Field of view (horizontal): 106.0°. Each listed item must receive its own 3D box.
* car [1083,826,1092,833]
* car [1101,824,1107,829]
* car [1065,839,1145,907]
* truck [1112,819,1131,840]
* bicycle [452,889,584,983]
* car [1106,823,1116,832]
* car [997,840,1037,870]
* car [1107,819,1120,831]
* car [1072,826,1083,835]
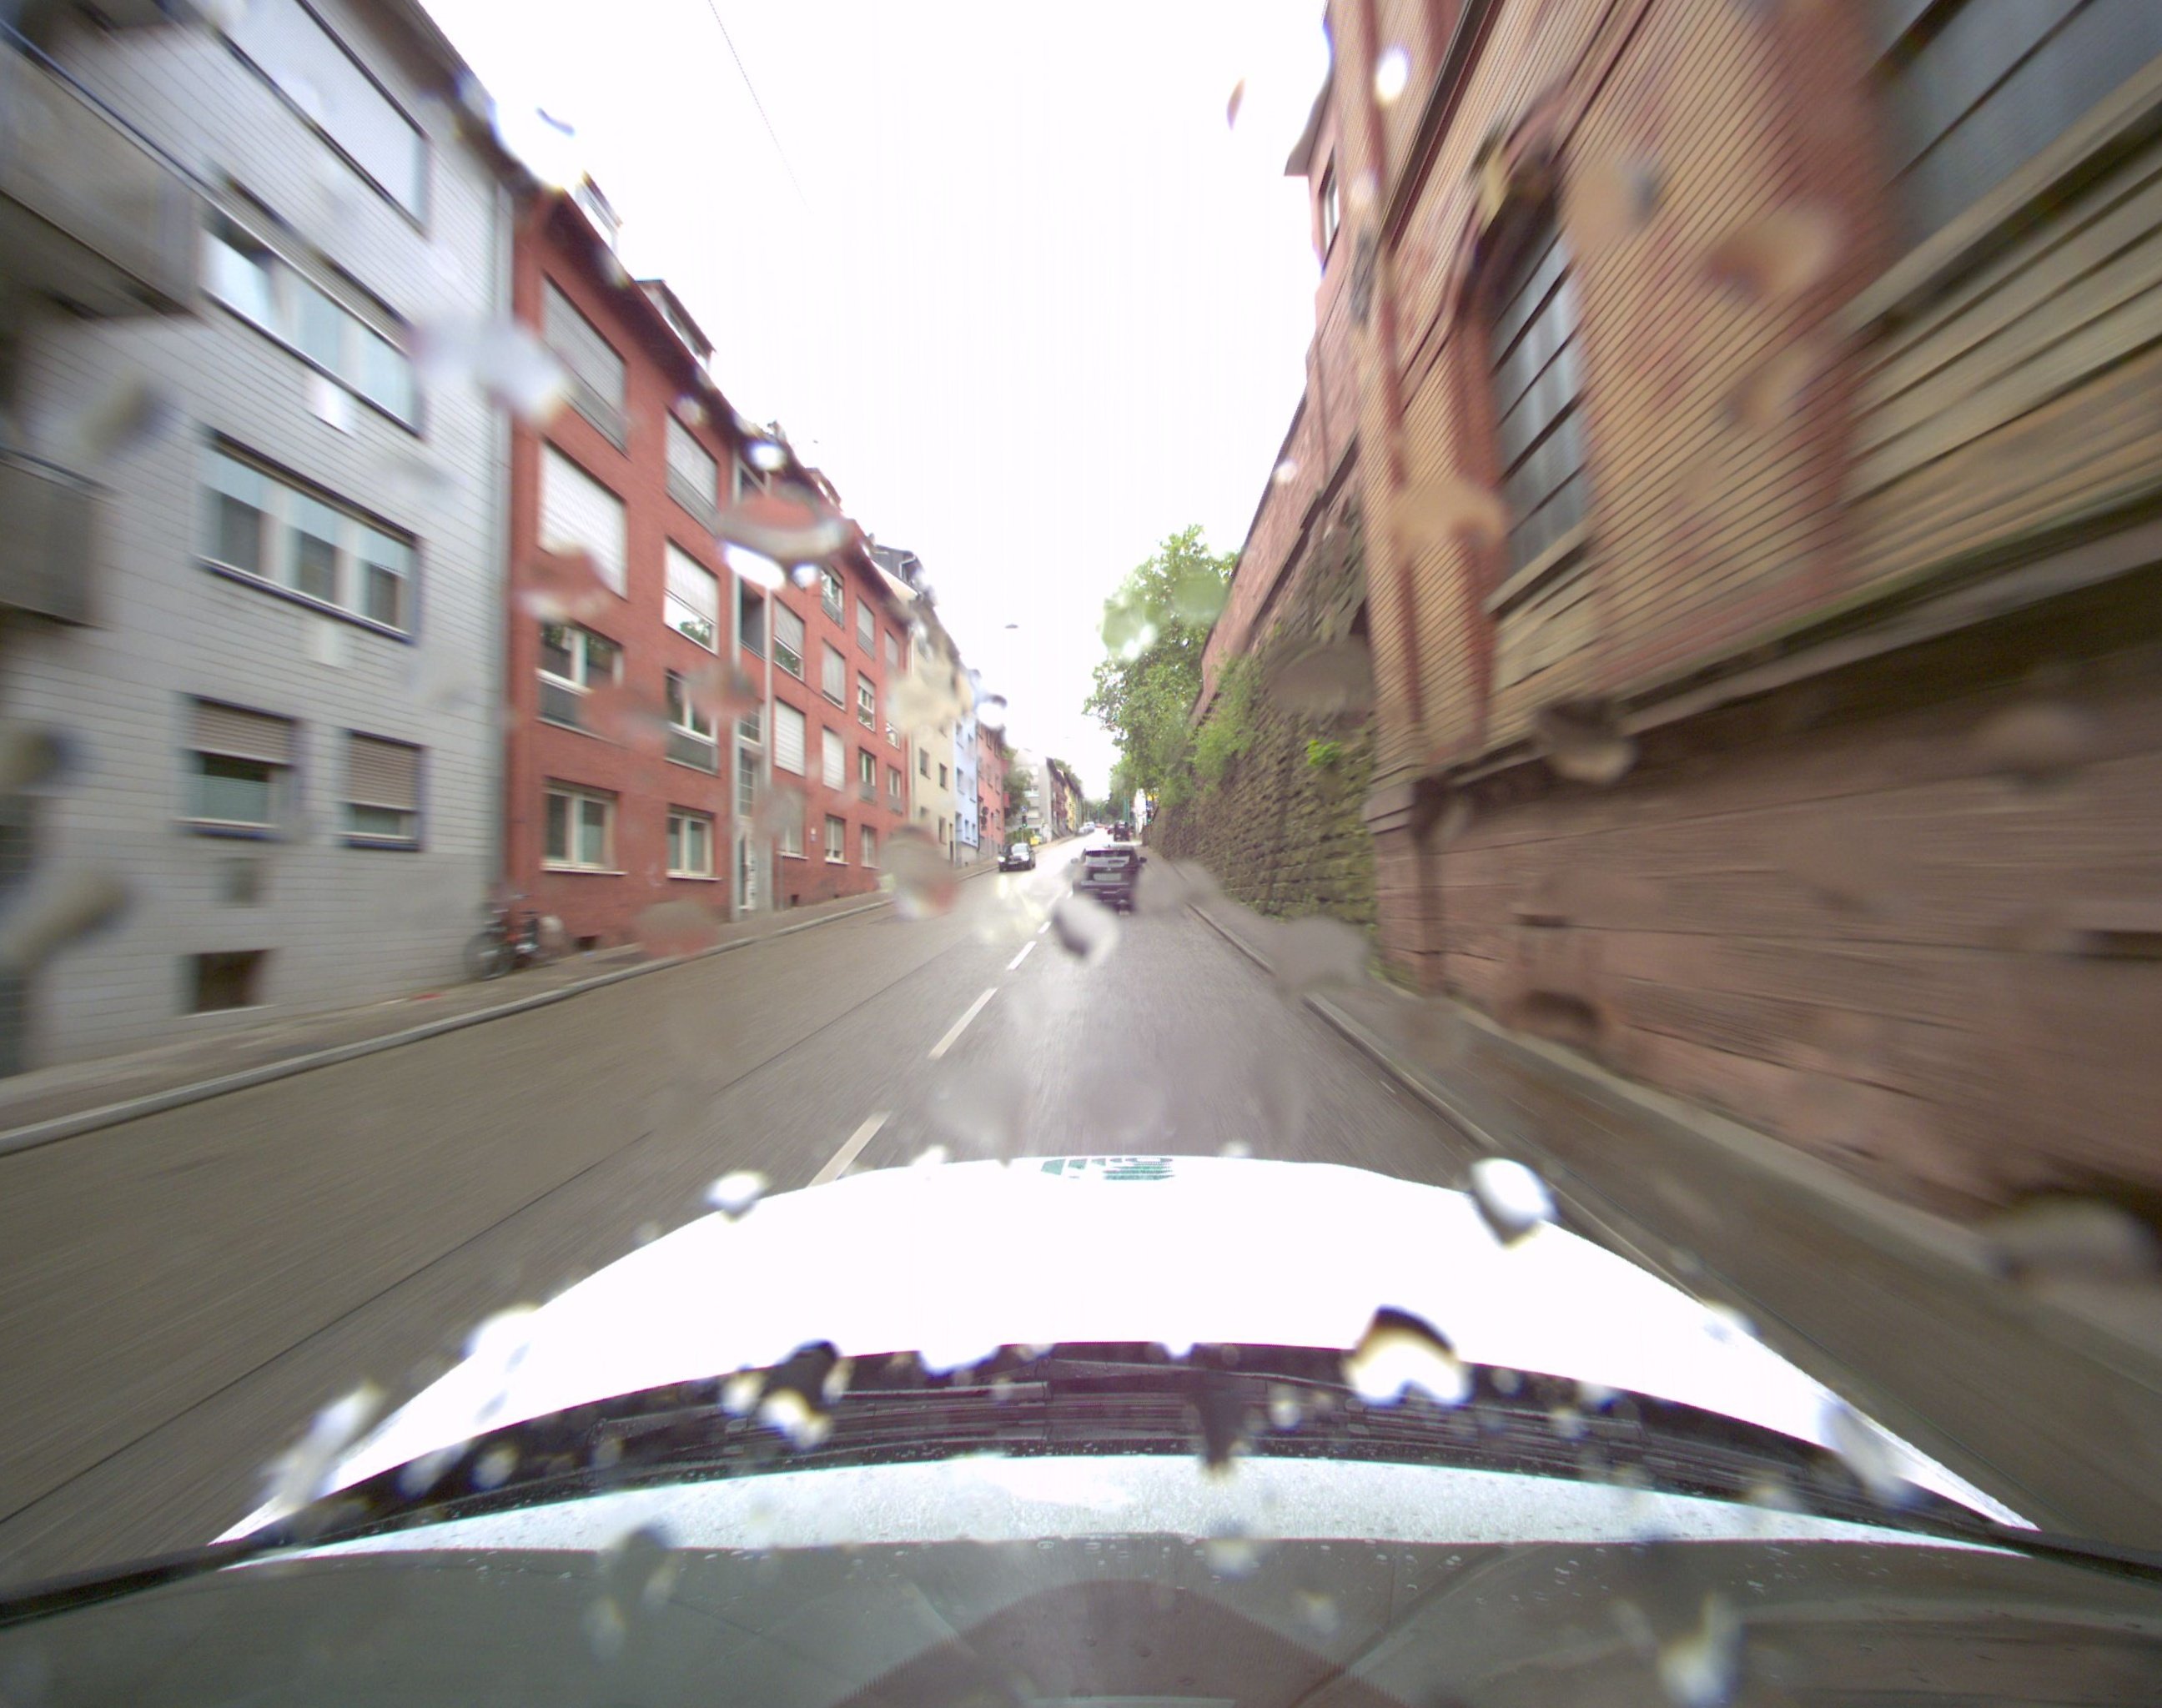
[{"bbox_3d":[1.579,-5.708,191.343,1.787,1.510,4.003,-2,1,2],"label":"car"},{"bbox_3d":[7.026,-8.348,246.016,1.787,1.510,4.003,-2,1,2],"label":"car"},{"bbox_3d":[0.591,0.459,21.478,1.875,1.594,3.920,-1,0,0],"label":"car"},{"bbox_3d":[5.095,-3.082,102.076,2.280,2.440,4.455,-2,1,2],"label":"truck"},{"bbox_3d":[-7.989,1.125,11.658,0.496,1.107,1.802,-2,1,3],"label":"bicycle"},{"bbox_3d":[5.761,-5.025,155.989,1.787,1.510,4.003,-2,1,2],"label":"car"},{"bbox_3d":[-3.466,0.021,44.674,1.707,1.447,3.923,-3,2,2],"label":"car"},{"bbox_3d":[4.721,-4.196,117.012,1.787,1.510,4.503,-2,1,2],"label":"car"},{"bbox_3d":[-0.570,-4.313,147.473,1.787,1.510,4.003,-2,1,2],"label":"car"}]
